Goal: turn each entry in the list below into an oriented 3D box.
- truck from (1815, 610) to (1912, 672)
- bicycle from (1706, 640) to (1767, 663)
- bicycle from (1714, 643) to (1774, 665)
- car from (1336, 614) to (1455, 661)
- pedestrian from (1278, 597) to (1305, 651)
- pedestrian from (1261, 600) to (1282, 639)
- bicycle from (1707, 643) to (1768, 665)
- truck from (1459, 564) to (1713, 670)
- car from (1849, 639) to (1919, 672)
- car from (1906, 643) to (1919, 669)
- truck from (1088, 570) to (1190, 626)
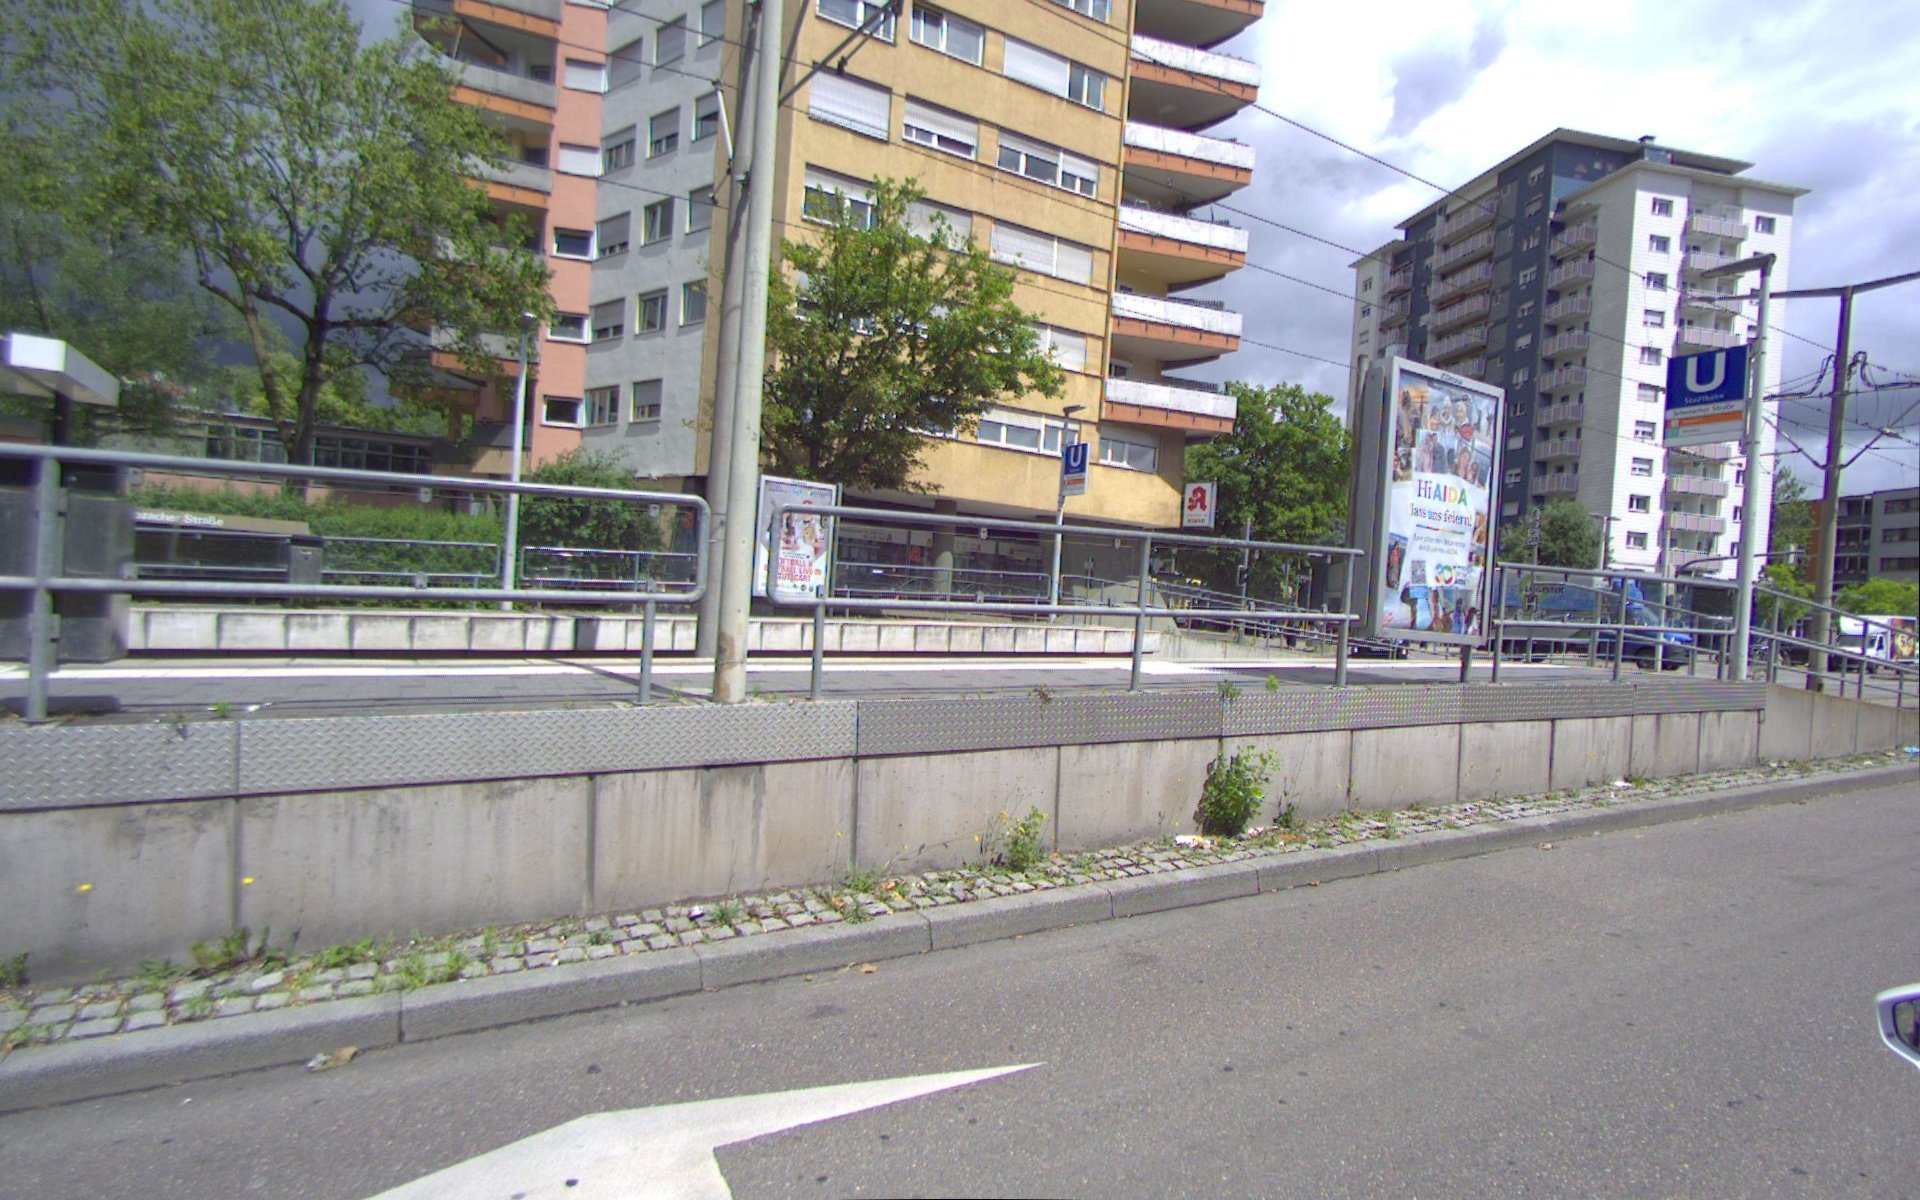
[{"bbox_3d":[49.876,2.256,55.407,7.244,3.159,2.267,2,0,-34],"label":"truck"},{"bbox_3d":[41.902,2.778,54.234,2.521,1.022,0.754,4,0,33],"label":"bicycle"},{"bbox_3d":[43.416,2.983,55.683,2.521,1.022,0.754,4,0,33],"label":"bicycle"},{"bbox_3d":[14.097,1.209,32.463,3.820,1.424,1.571,2,0,-30],"label":"car"},{"bbox_3d":[11.295,0.797,34.196,0.649,1.799,0.658,1,0,-1],"label":"pedestrian"},{"bbox_3d":[11.851,0.756,38.200,0.541,1.459,0.497,2,0,-19],"label":"pedestrian"},{"bbox_3d":[42.556,2.953,54.990,2.521,1.022,0.754,4,0,33],"label":"bicycle"},{"bbox_3d":[22.159,0.527,35.968,2.585,3.393,7.212,2,0,-38],"label":"truck"},{"bbox_3d":[63.918,3.788,69.033,3.846,2.001,1.657,2,1,18],"label":"car"},{"bbox_3d":[58.967,3.417,60.935,3.733,1.480,1.399,2,0,-32],"label":"car"},{"bbox_3d":[7.984,-0.111,45.243,2.323,2.320,4.260,2,0,-29],"label":"truck"}]
